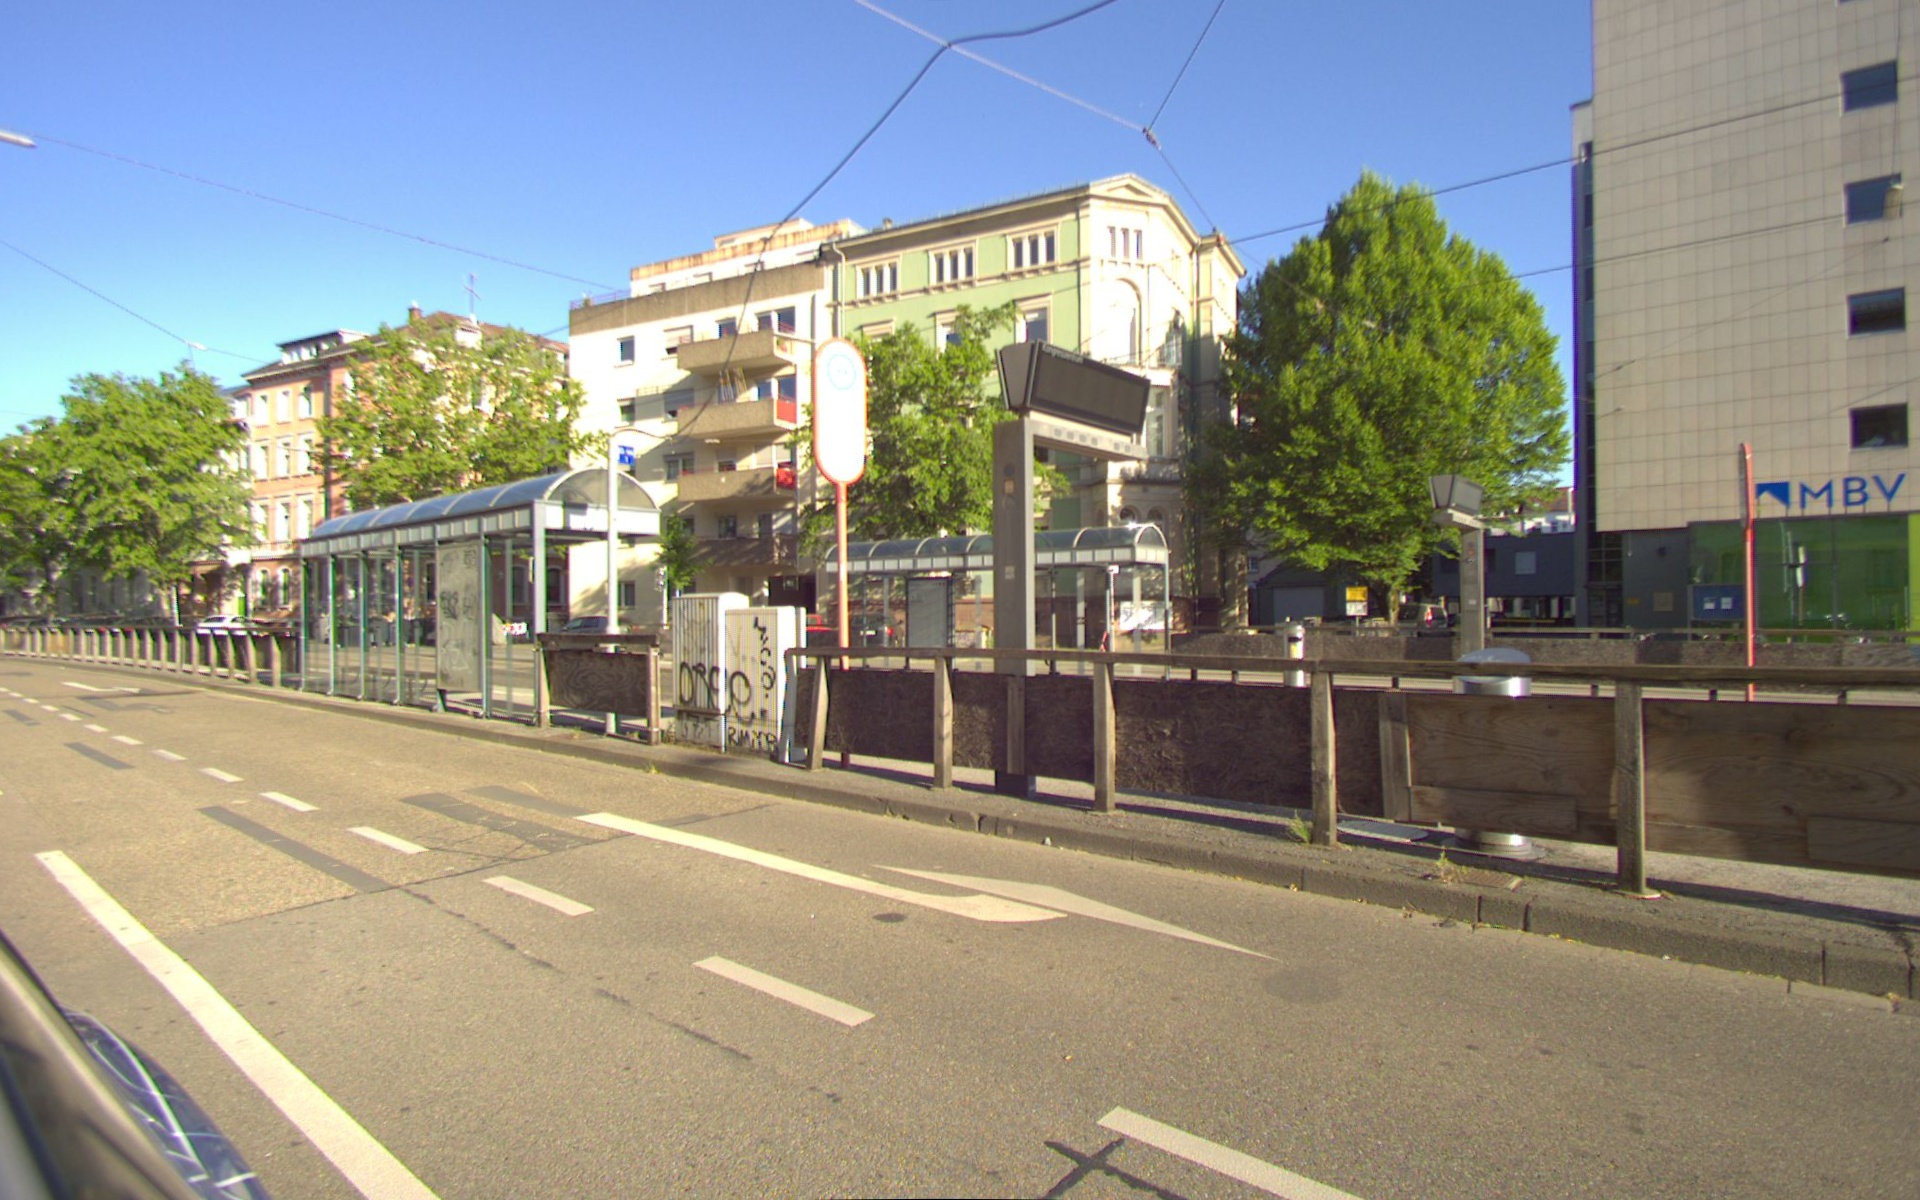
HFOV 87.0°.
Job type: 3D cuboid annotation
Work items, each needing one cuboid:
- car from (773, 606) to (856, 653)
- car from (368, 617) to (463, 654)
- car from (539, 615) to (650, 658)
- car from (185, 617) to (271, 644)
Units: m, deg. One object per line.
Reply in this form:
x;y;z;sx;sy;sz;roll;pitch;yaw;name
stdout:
-6.581;1.318;46.174;1.791;2.029;3.963;-1;-1;27;car
-23.766;1.549;44.152;3.987;1.541;1.978;-1;-2;32;car
-13.977;1.384;38.659;3.987;1.542;1.978;-1;-2;32;car
-39.052;1.621;54.092;1.565;1.360;3.631;0;-1;11;car
